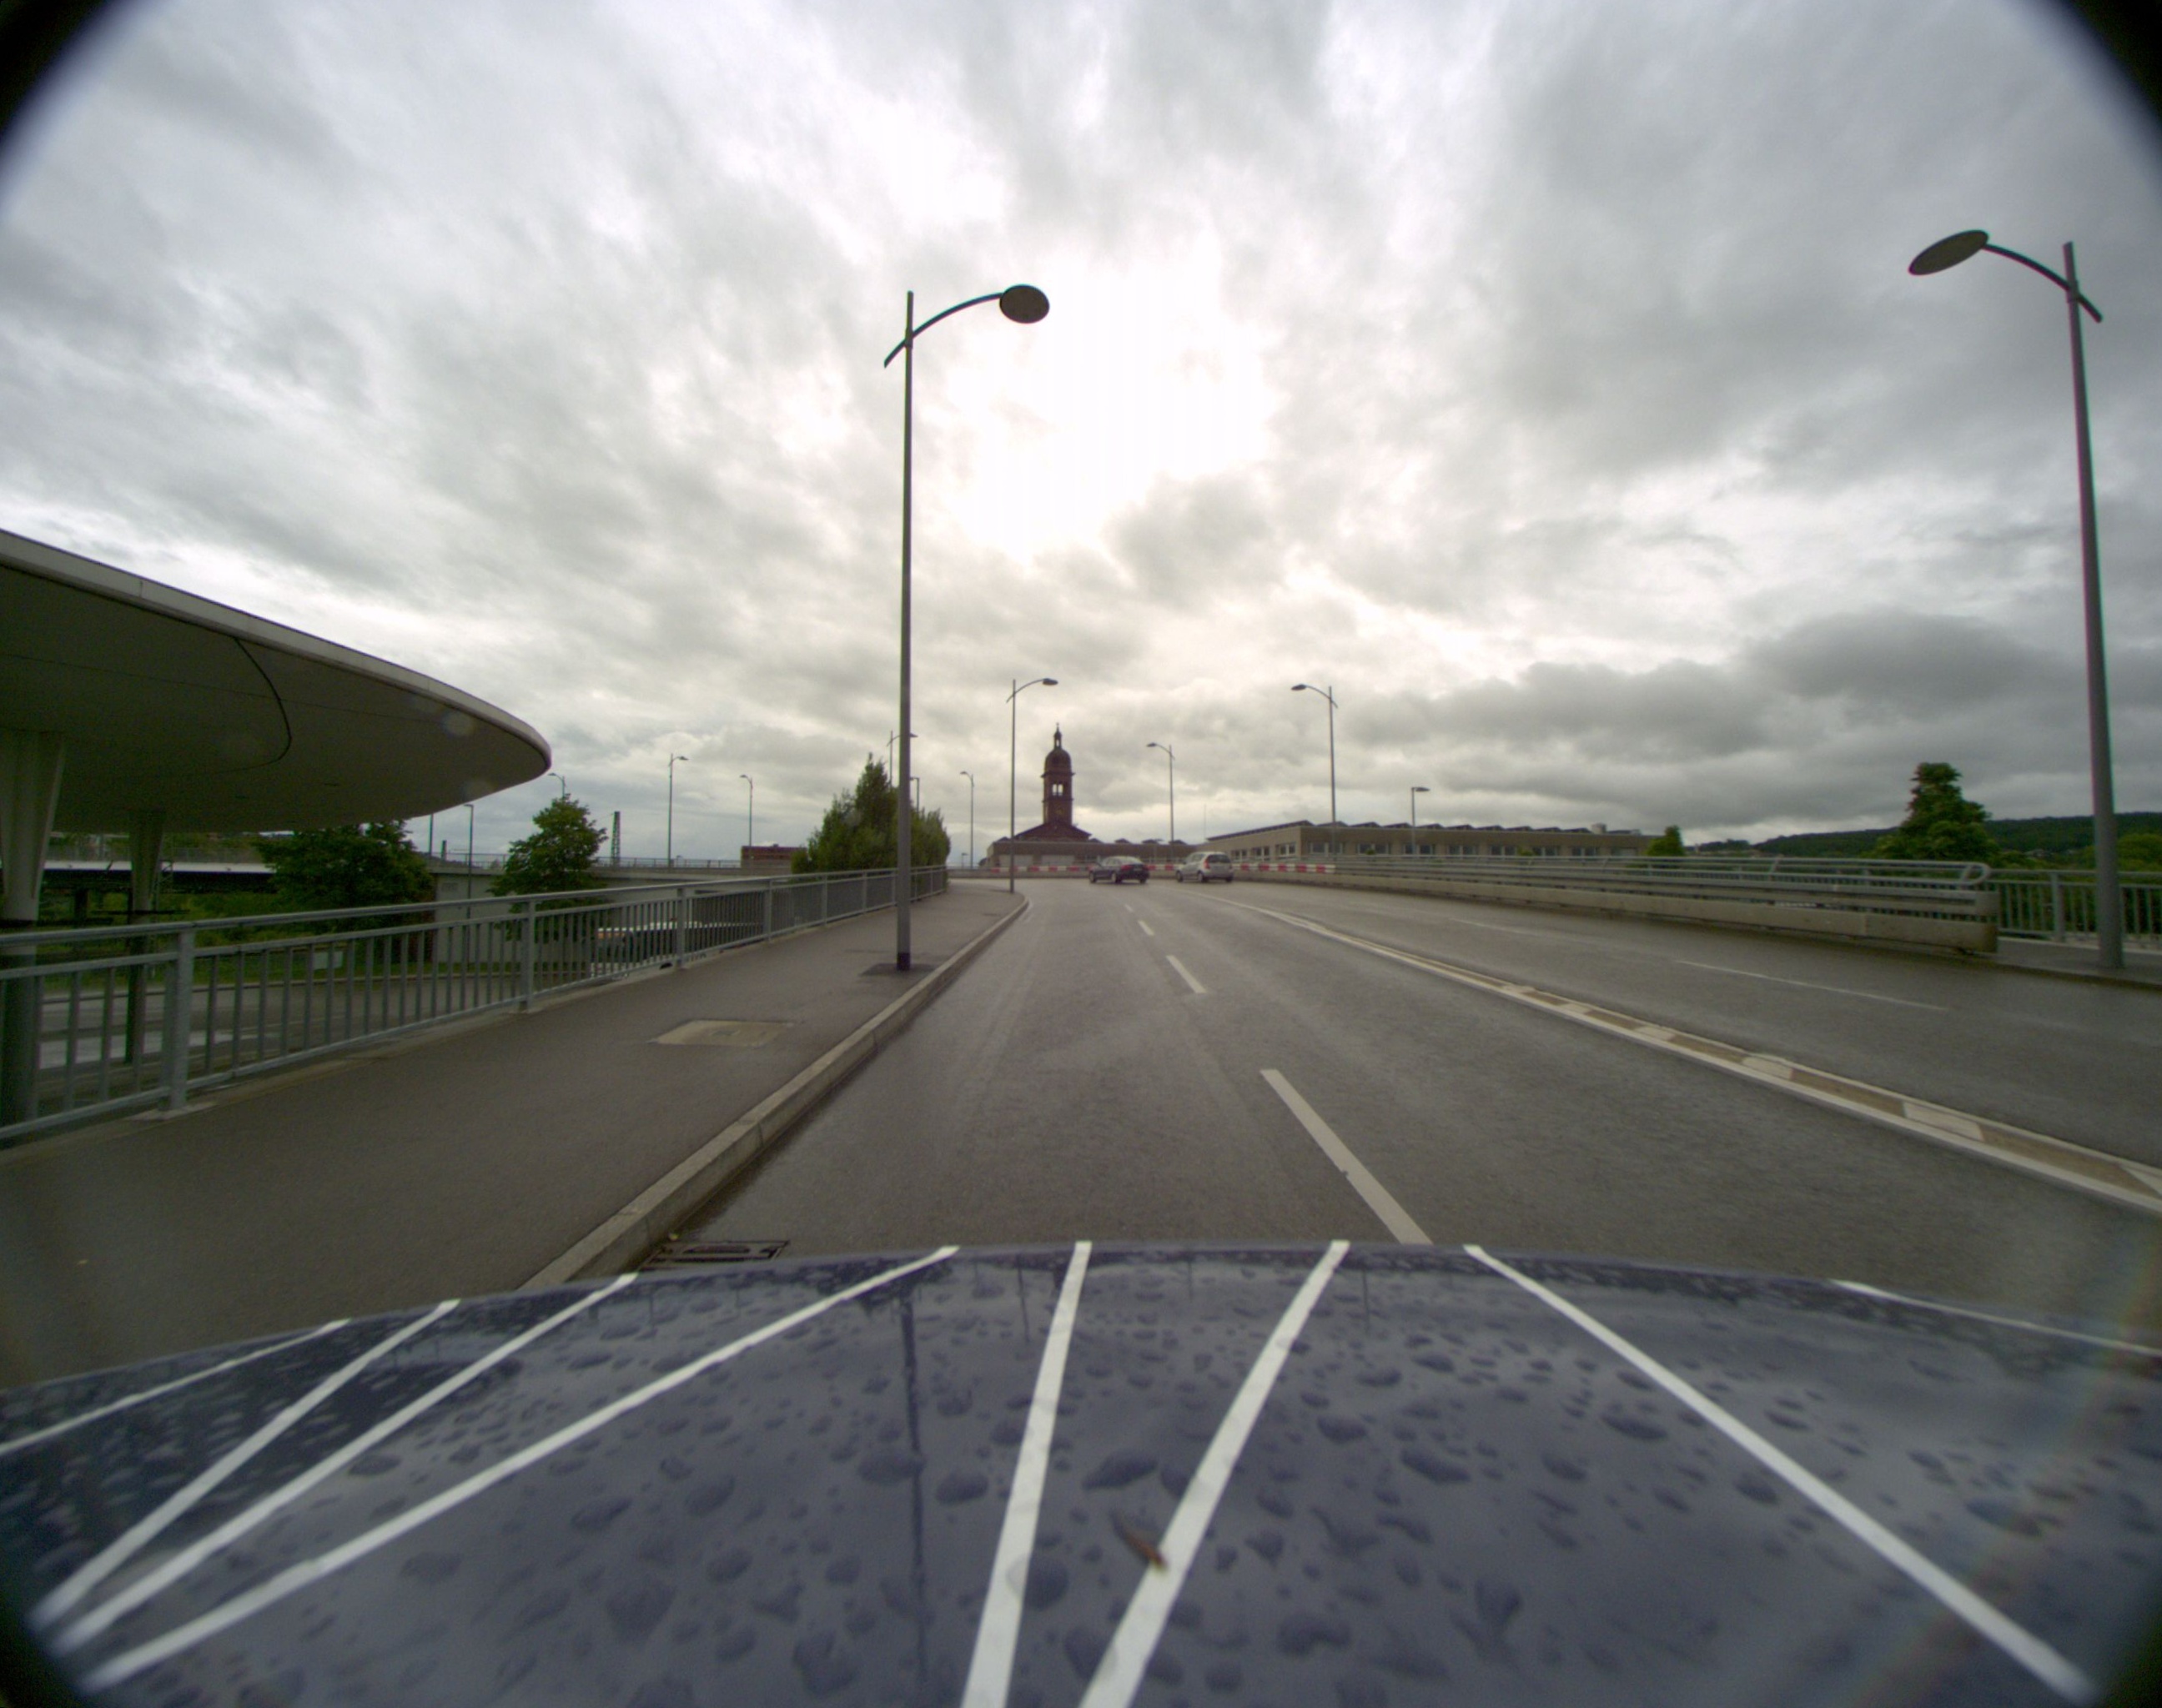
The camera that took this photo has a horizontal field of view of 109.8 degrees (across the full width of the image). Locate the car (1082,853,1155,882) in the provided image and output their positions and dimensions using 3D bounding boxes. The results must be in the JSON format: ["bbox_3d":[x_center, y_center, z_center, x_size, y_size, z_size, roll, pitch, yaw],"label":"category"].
[{"bbox_3d":[1.960,0.689,41.341,1.676,1.482,4.446,-1,1,-33],"label":"car"}]

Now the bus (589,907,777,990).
[{"bbox_3d":[-23.285,5.392,45.813,2.793,3.238,12.149,-2,1,12],"label":"bus"}]

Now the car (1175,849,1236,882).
[{"bbox_3d":[6.525,0.573,40.166,1.651,1.599,3.703,0,1,-18],"label":"car"}]
